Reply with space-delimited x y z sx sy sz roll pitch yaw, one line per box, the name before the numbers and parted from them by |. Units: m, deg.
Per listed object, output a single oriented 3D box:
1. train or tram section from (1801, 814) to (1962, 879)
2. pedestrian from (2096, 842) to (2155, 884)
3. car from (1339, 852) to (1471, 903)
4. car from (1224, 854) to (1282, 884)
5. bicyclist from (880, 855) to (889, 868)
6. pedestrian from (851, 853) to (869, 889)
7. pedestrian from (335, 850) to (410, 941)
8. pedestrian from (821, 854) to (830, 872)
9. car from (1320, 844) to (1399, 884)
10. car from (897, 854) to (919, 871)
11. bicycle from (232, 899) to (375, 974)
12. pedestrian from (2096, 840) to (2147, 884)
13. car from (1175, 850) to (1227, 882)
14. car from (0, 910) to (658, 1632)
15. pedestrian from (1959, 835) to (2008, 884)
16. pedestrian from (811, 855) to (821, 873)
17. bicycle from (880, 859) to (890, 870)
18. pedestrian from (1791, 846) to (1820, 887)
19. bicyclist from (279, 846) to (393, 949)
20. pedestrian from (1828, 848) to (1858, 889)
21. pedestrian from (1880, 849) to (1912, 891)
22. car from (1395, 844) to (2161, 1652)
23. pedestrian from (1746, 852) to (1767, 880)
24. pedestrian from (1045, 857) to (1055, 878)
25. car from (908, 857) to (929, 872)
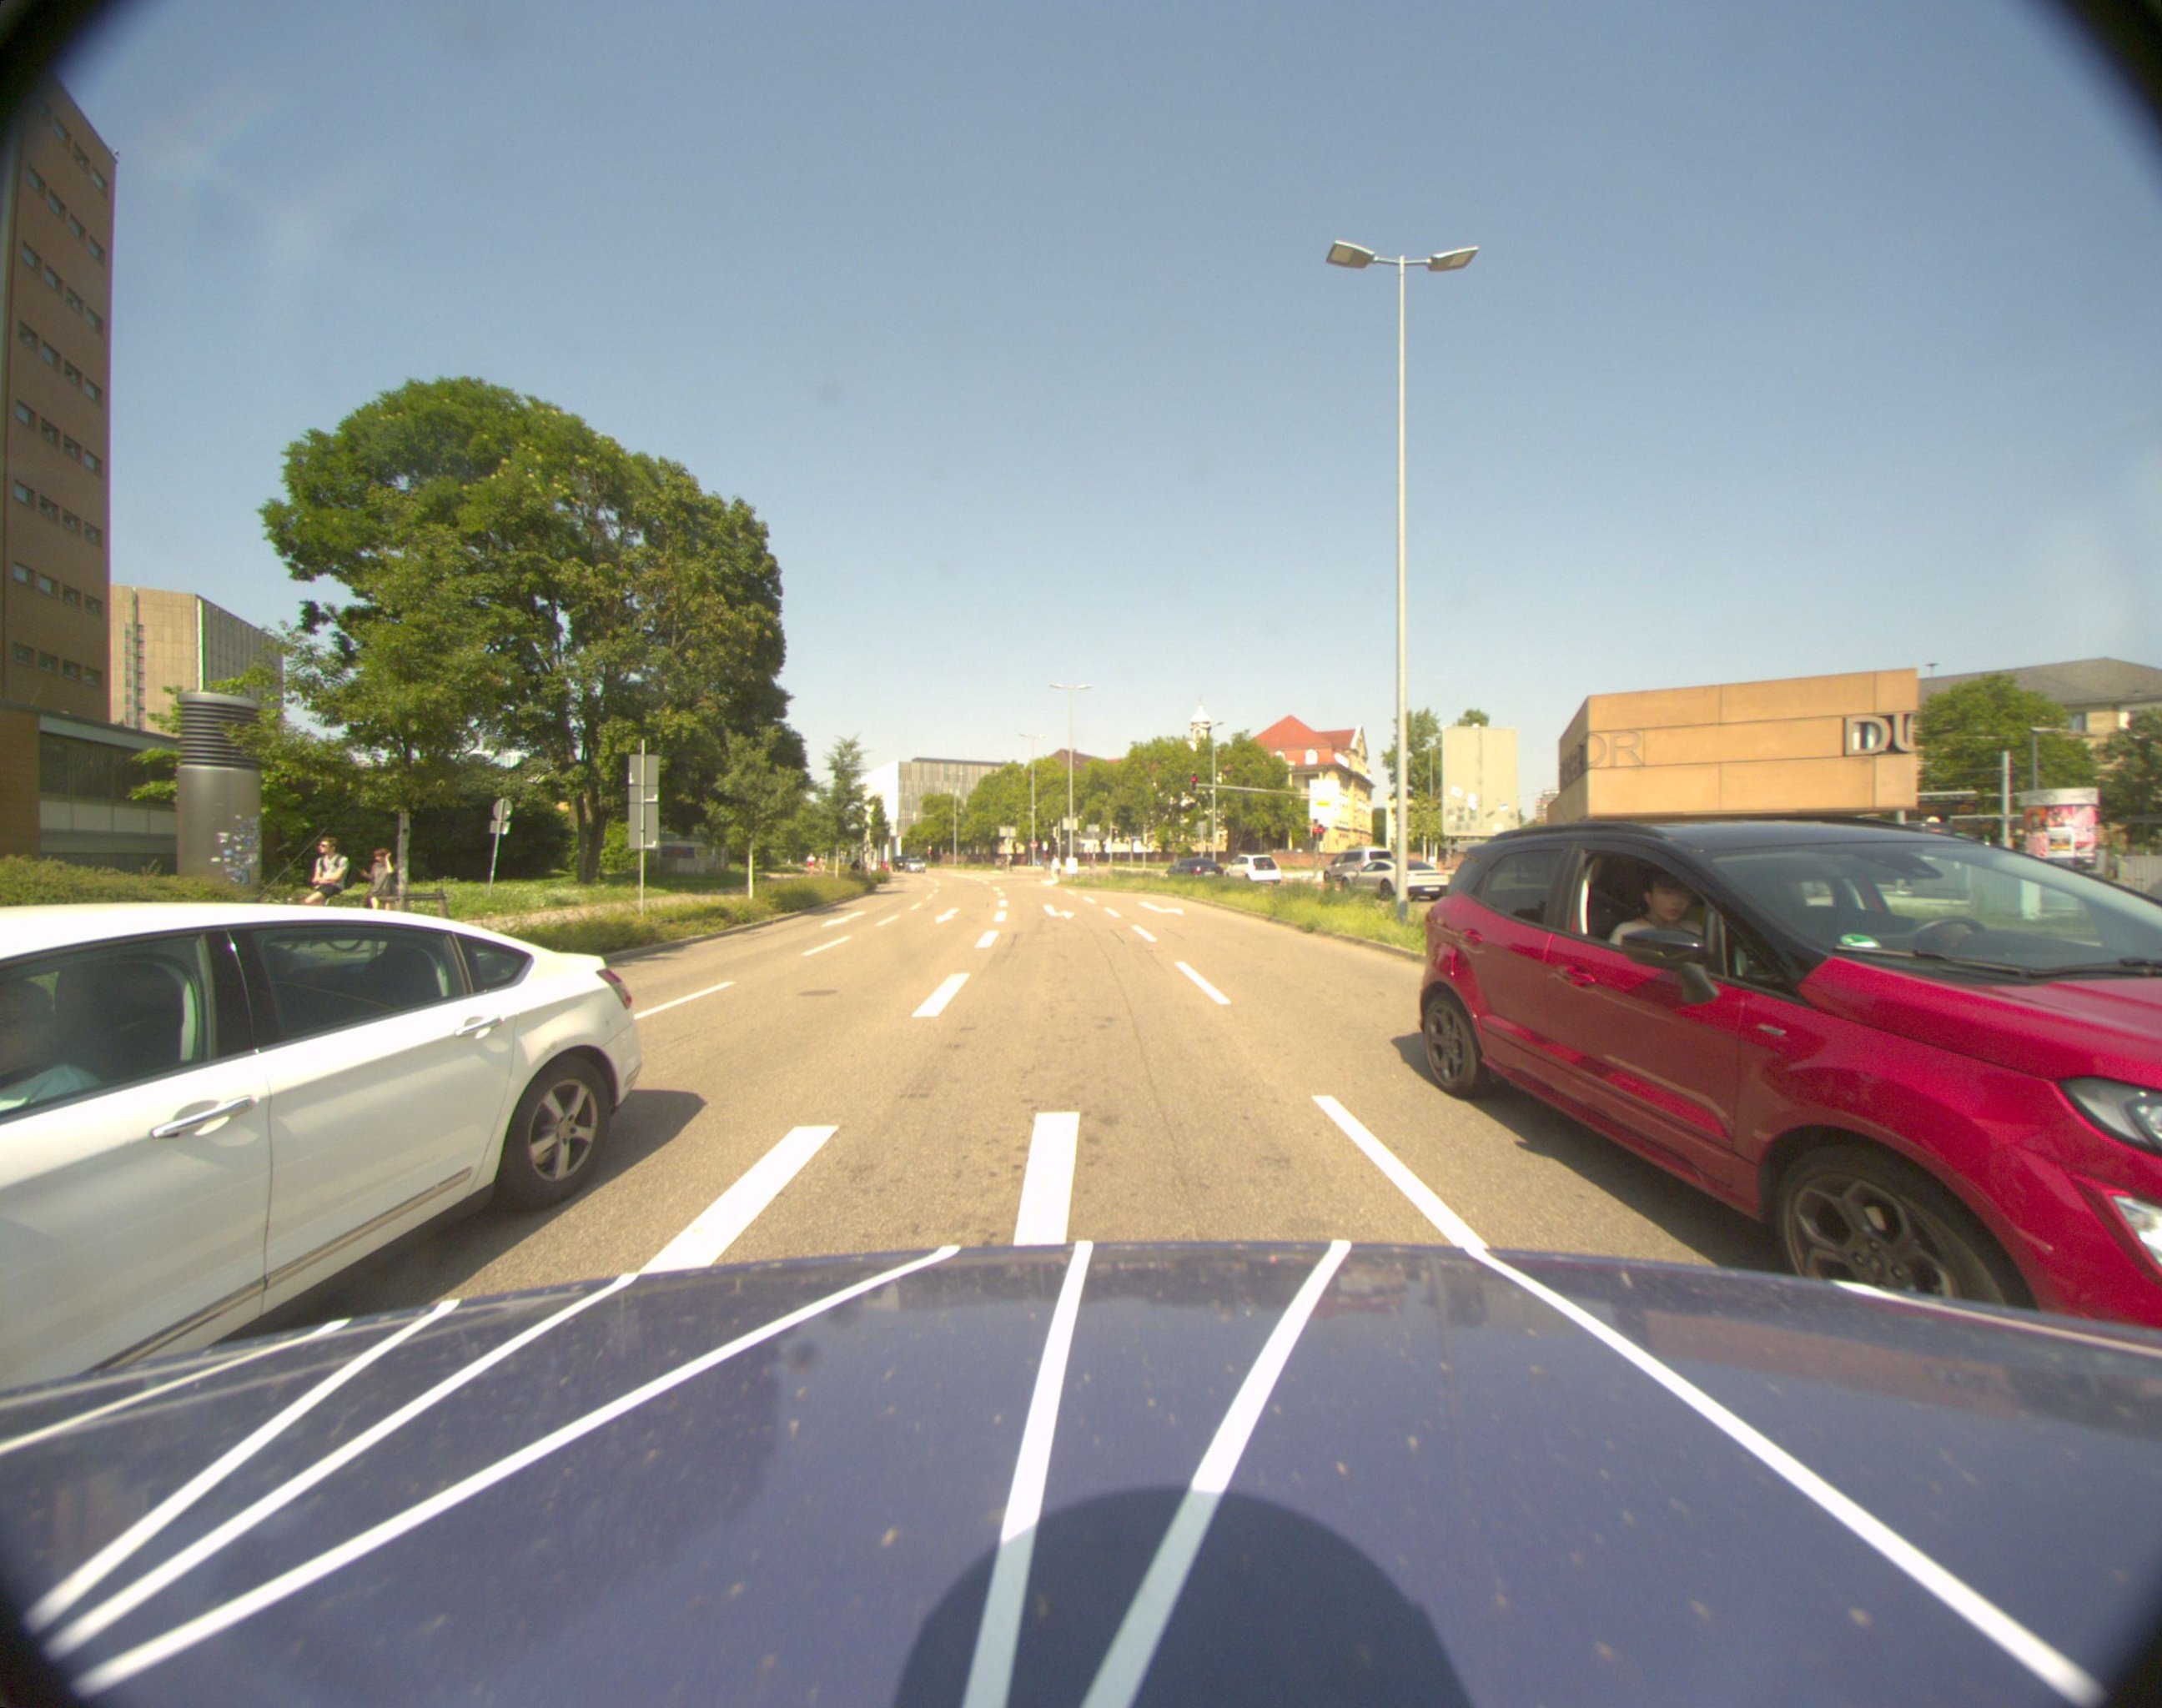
train or tram section | 48.272 -0.394 46.476 2.698 3.418 13.446 0 0 28
pedestrian | 43.490 0.374 31.657 1.076 1.686 1.066 0 1 28
car | 10.877 0.729 25.949 2.000 1.576 4.712 0 0 -8
car | 8.673 0.720 38.539 1.527 1.470 3.473 0 0 -12
bicyclist | -20.814 0.777 80.425 0.679 1.392 1.049 0 1 -3
pedestrian | -11.796 0.914 40.579 0.823 1.892 0.630 -1 1 -12
pedestrian | -13.534 0.771 14.542 0.672 1.689 0.805 0 0 -5
pedestrian | -18.698 0.688 55.660 0.577 1.291 0.436 -3 1 -20
car | 13.711 0.452 37.663 1.869 1.843 3.911 0 1 -12
car | -20.553 0.971 90.321 1.893 1.908 4.526 -2 0 -20
bicycle | -12.035 1.243 11.838 0.357 0.974 1.782 0 0 1
pedestrian | 43.398 0.333 31.710 0.927 1.812 0.939 0 1 28
car | 5.737 0.550 36.625 1.526 1.417 3.474 0 0 -8
car | -3.287 1.023 1.804 1.773 1.420 4.610 0 0 3
pedestrian | 27.787 0.167 23.409 0.771 1.488 0.606 0 1 -1
pedestrian | -19.326 0.713 55.323 0.635 1.291 0.486 -3 1 -20
bicycle | -20.816 1.081 80.625 0.594 1.162 2.235 0 0 -2
pedestrian | 26.732 0.454 28.025 0.539 1.488 0.541 0 1 -1
bicyclist | -12.040 0.681 12.315 0.904 1.596 0.924 0 1 -1
pedestrian | 27.947 0.533 27.880 0.539 1.488 0.541 0 1 -1
pedestrian | 28.778 0.554 26.843 0.539 1.488 0.541 0 1 -1
car | 2.962 0.780 3.098 1.694 1.577 3.844 -2 0 -1
pedestrian | 26.971 0.460 30.347 0.538 1.093 0.543 0 1 32
pedestrian | -1.995 0.842 48.630 0.605 1.291 0.617 -2 1 -4
car | -17.679 1.147 82.575 1.661 1.521 4.526 -2 0 -18
